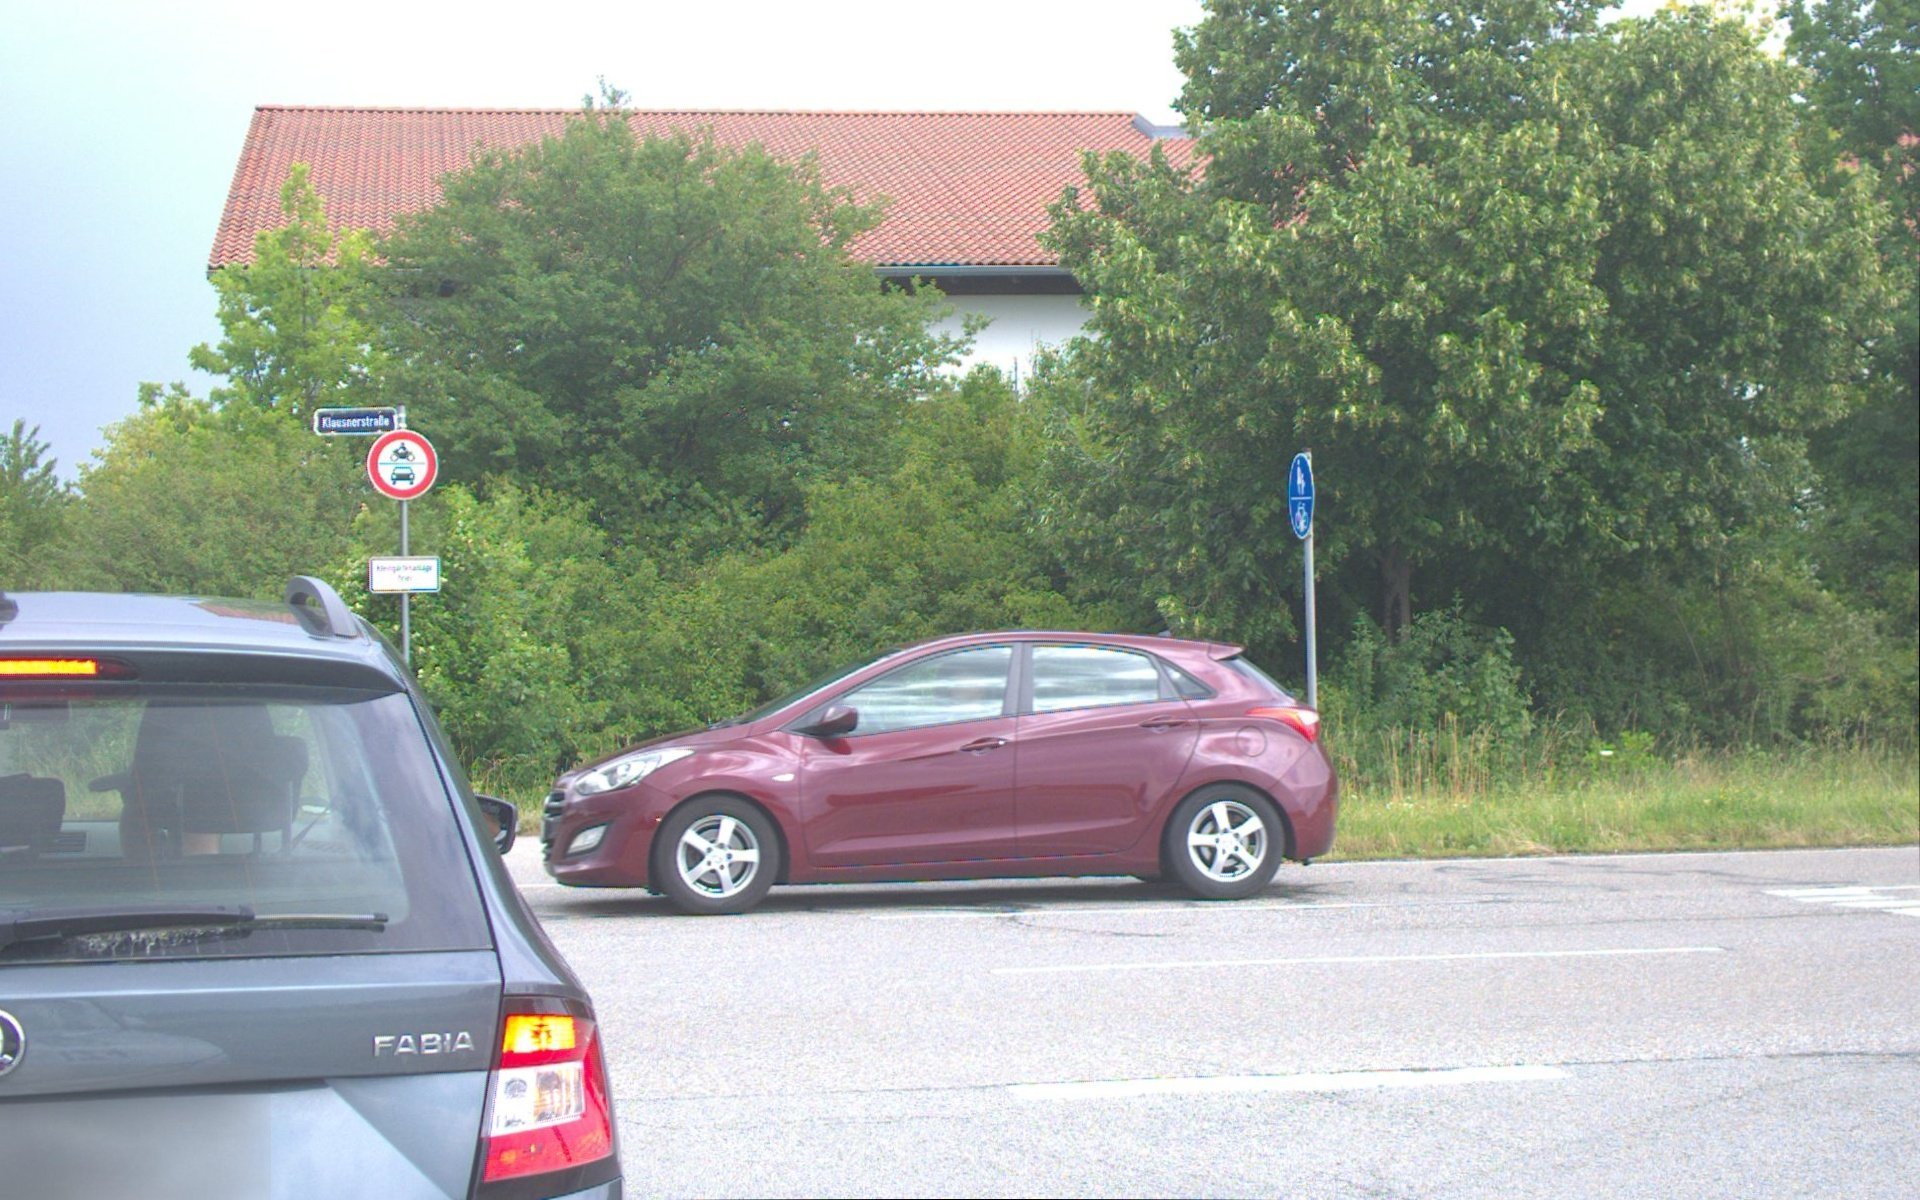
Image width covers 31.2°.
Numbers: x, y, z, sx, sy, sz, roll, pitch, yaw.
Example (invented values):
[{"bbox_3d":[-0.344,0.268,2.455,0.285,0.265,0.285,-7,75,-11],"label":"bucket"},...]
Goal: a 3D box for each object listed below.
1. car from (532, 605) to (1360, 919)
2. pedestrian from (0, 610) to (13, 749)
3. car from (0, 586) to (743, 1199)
[{"bbox_3d":[-0.152,0.815,18.497,4.146,1.459,2.000,-2,0,-10],"label":"car"},{"bbox_3d":[-12.010,0.980,42.012,0.584,1.677,0.565,-1,1,18],"label":"pedestrian"},{"bbox_3d":[-1.606,0.722,5.398,1.676,1.458,3.709,-1,1,-18],"label":"car"}]
